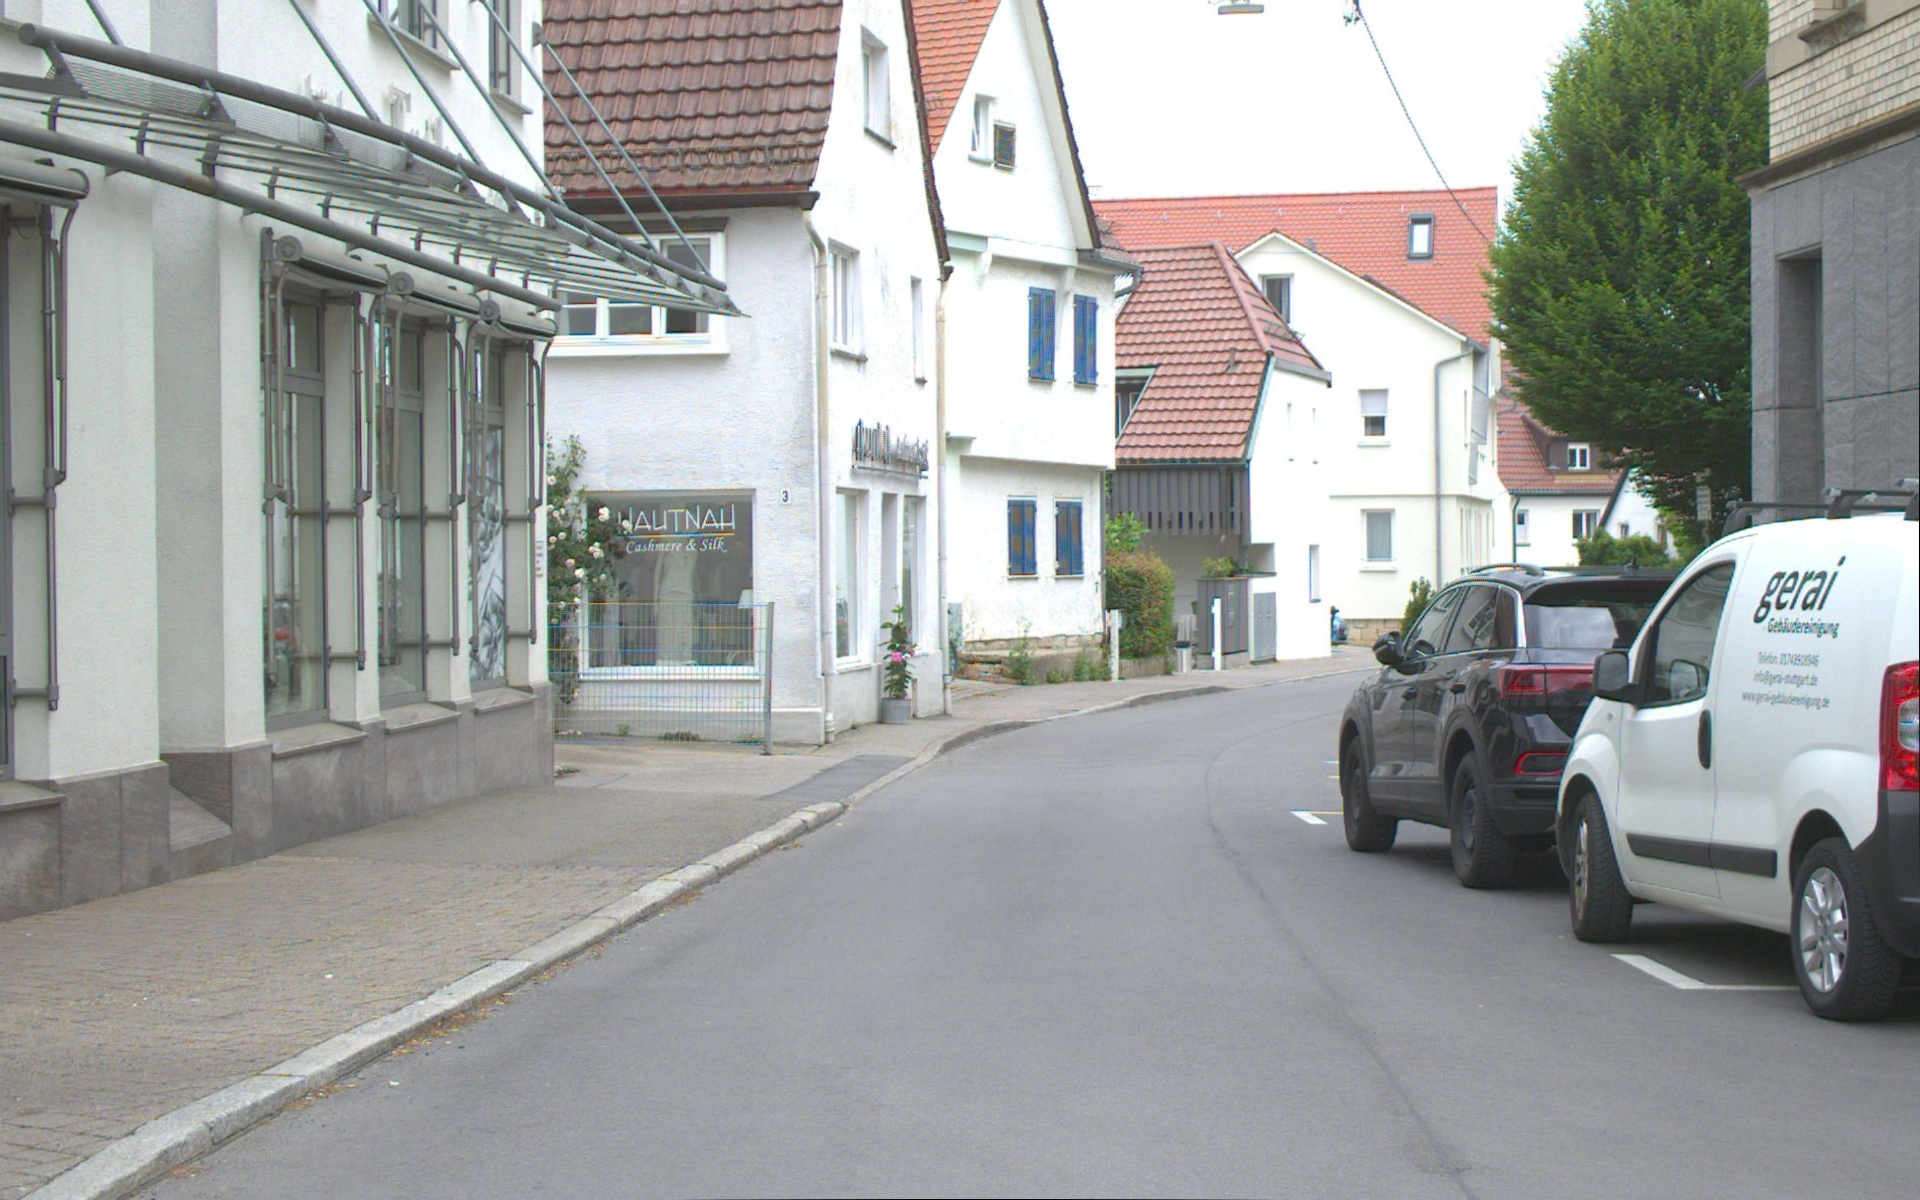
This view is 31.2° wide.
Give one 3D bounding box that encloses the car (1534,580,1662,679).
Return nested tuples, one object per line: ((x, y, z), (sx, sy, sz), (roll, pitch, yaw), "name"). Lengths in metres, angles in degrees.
((10.986, 0.491, 58.988), (1.864, 1.628, 4.898), (0, 0, 14), "car")

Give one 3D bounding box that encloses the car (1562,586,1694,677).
((12.600, 0.552, 64.644), (1.995, 1.610, 4.875), (1, 0, 16), "car")

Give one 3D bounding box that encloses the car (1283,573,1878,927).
((3.030, 0.667, 17.826), (1.787, 1.595, 4.543), (0, 0, -7), "car")

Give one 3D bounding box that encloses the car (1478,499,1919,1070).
((3.446, 0.549, 12.958), (1.825, 1.786, 4.219), (0, 1, -8), "car")

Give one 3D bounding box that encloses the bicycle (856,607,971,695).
((-0.583, 0.643, 43.901), (0.443, 1.035, 2.089), (5, 3, 28), "bicycle")

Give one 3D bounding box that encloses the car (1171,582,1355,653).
((6.954, 0.400, 78.834), (3.734, 1.407, 2.118), (3, -1, 19), "car")
